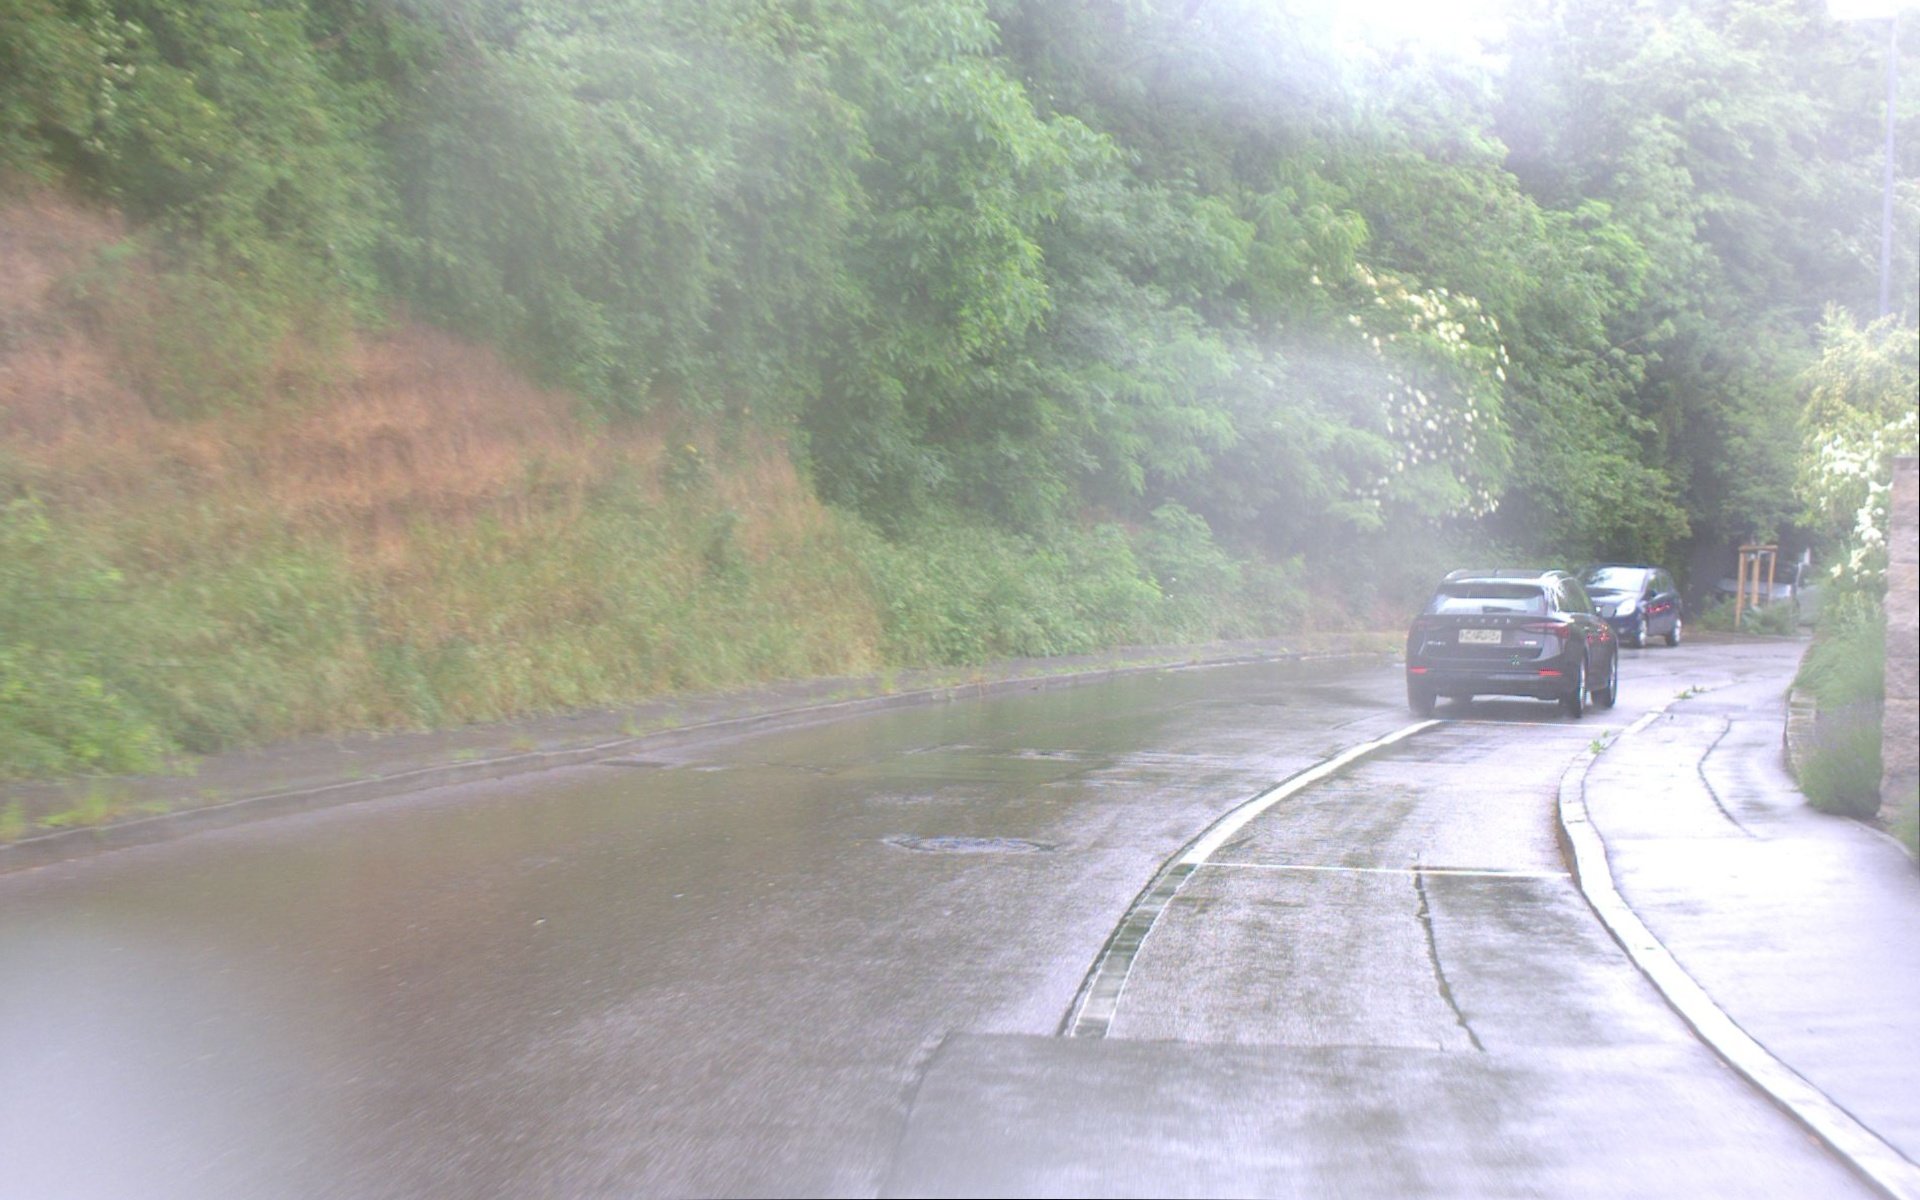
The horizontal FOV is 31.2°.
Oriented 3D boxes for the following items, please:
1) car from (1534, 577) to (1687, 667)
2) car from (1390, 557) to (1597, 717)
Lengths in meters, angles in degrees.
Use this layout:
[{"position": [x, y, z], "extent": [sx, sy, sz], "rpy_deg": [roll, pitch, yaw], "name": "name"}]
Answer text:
[{"position": [11.733, 0.368, 61.834], "extent": [1.702, 1.466, 3.995], "rpy_deg": [4, 2, 25], "name": "car"}, {"position": [5.603, 0.343, 35.778], "extent": [1.869, 1.507, 4.090], "rpy_deg": [2, 1, 12], "name": "car"}]
